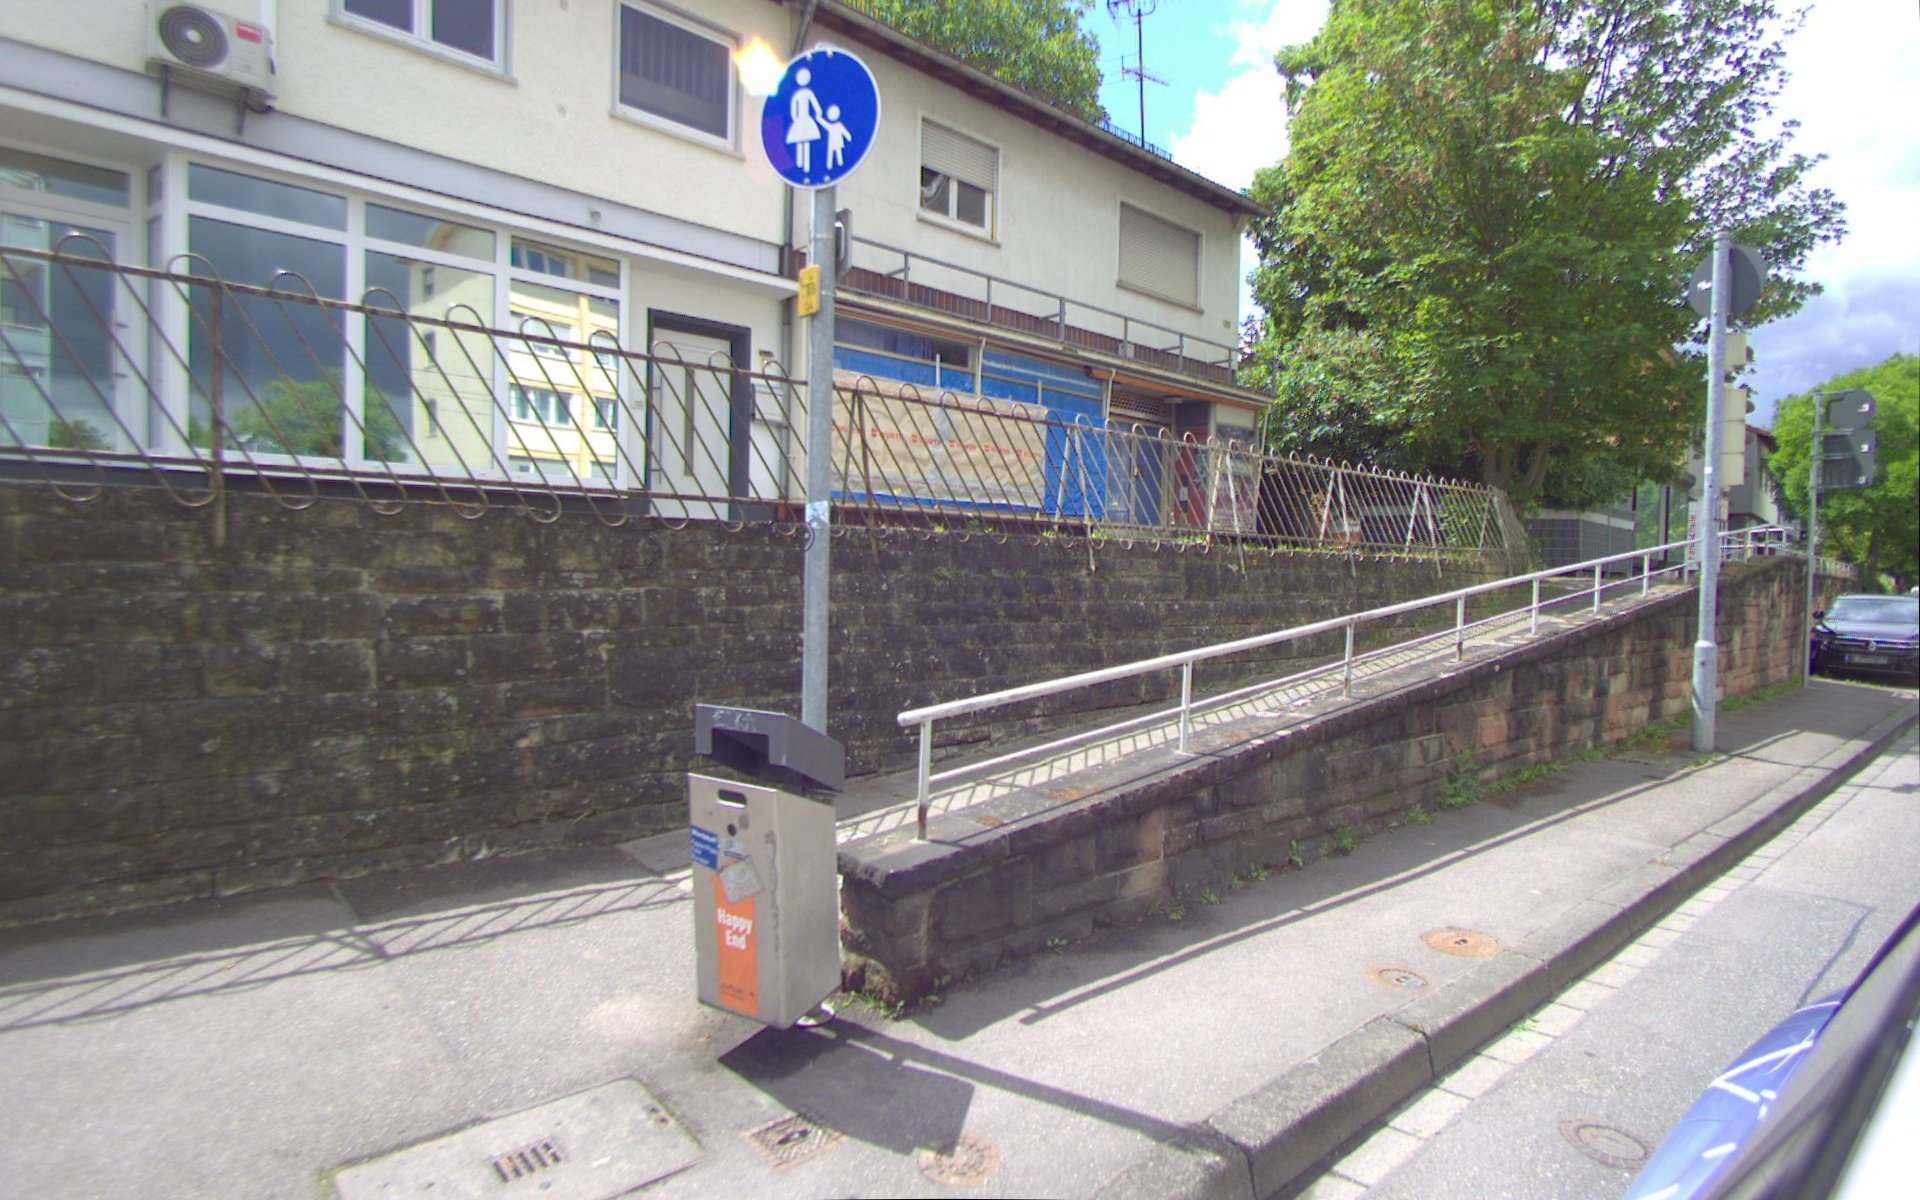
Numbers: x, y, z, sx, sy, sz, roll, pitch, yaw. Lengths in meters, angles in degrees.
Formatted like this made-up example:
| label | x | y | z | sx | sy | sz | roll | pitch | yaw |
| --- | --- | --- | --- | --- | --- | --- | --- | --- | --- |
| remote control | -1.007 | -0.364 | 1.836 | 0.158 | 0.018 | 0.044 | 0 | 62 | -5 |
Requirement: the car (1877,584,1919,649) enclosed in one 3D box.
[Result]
| label | x | y | z | sx | sy | sz | roll | pitch | yaw |
| --- | --- | --- | --- | --- | --- | --- | --- | --- | --- |
| car | 25.366 | 0.428 | 26.448 | 4.106 | 1.587 | 1.757 | 0 | 3 | -44 |

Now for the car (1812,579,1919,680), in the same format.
| label | x | y | z | sx | sy | sz | roll | pitch | yaw |
| --- | --- | --- | --- | --- | --- | --- | --- | --- | --- |
| car | 16.628 | 0.460 | 18.053 | 3.956 | 1.599 | 1.757 | -1 | 3 | -44 |

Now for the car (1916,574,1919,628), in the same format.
| label | x | y | z | sx | sy | sz | roll | pitch | yaw |
| --- | --- | --- | --- | --- | --- | --- | --- | --- | --- |
| car | 38.402 | 0.048 | 39.100 | 4.888 | 2.033 | 1.851 | -1 | 3 | -44 |

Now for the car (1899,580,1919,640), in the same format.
| label | x | y | z | sx | sy | sz | roll | pitch | yaw |
| --- | --- | --- | --- | --- | --- | --- | --- | --- | --- |
| car | 29.870 | 0.296 | 30.712 | 3.934 | 1.737 | 1.757 | -1 | 3 | -44 |
